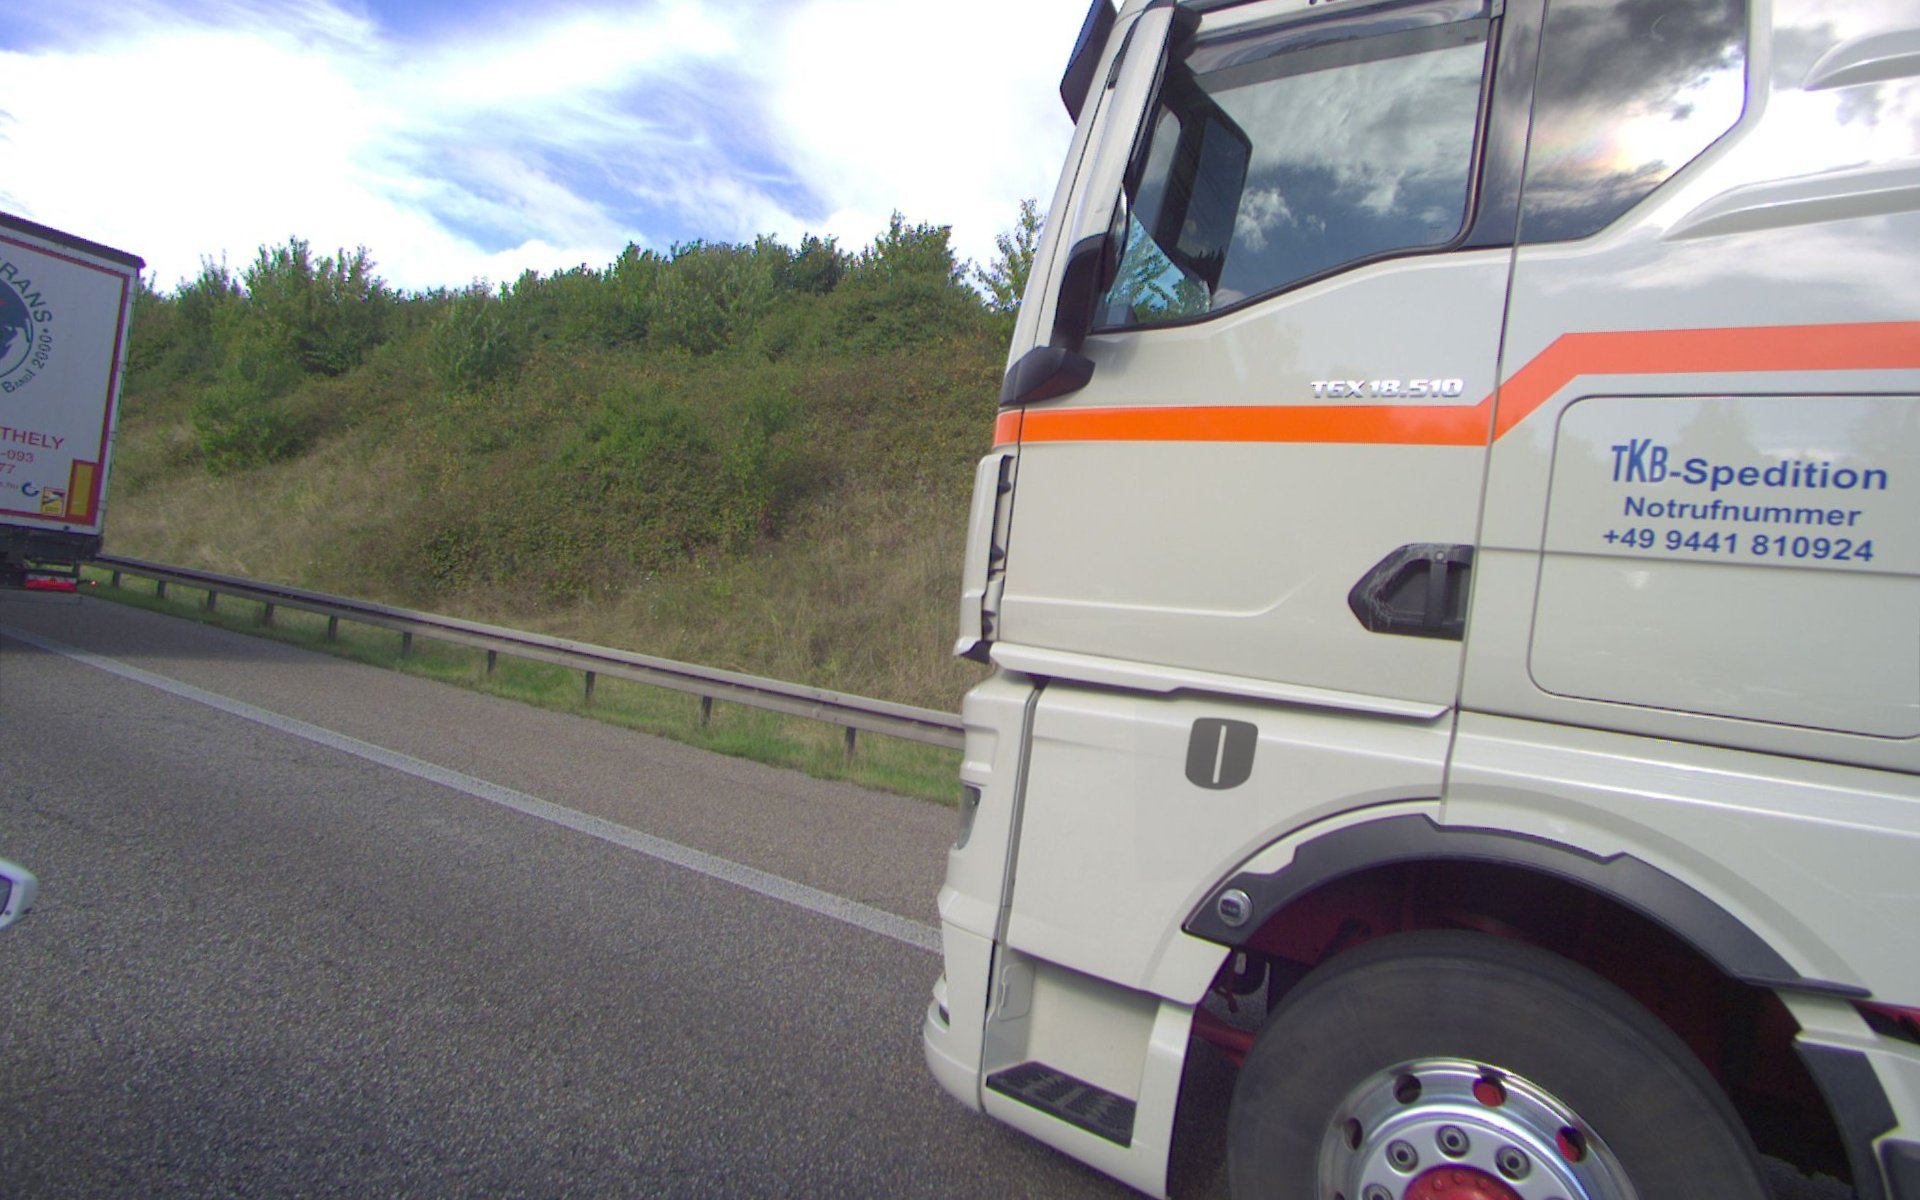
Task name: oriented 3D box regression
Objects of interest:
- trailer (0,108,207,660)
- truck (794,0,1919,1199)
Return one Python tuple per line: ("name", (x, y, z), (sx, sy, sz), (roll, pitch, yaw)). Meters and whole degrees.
("trailer", (-14.094, -2.553, 12.026), (13.066, 4.715, 3.008), (7, -1, 31))
("truck", (2.998, -0.167, 2.165), (5.806, 4.091, 2.807), (7, -1, 32))
